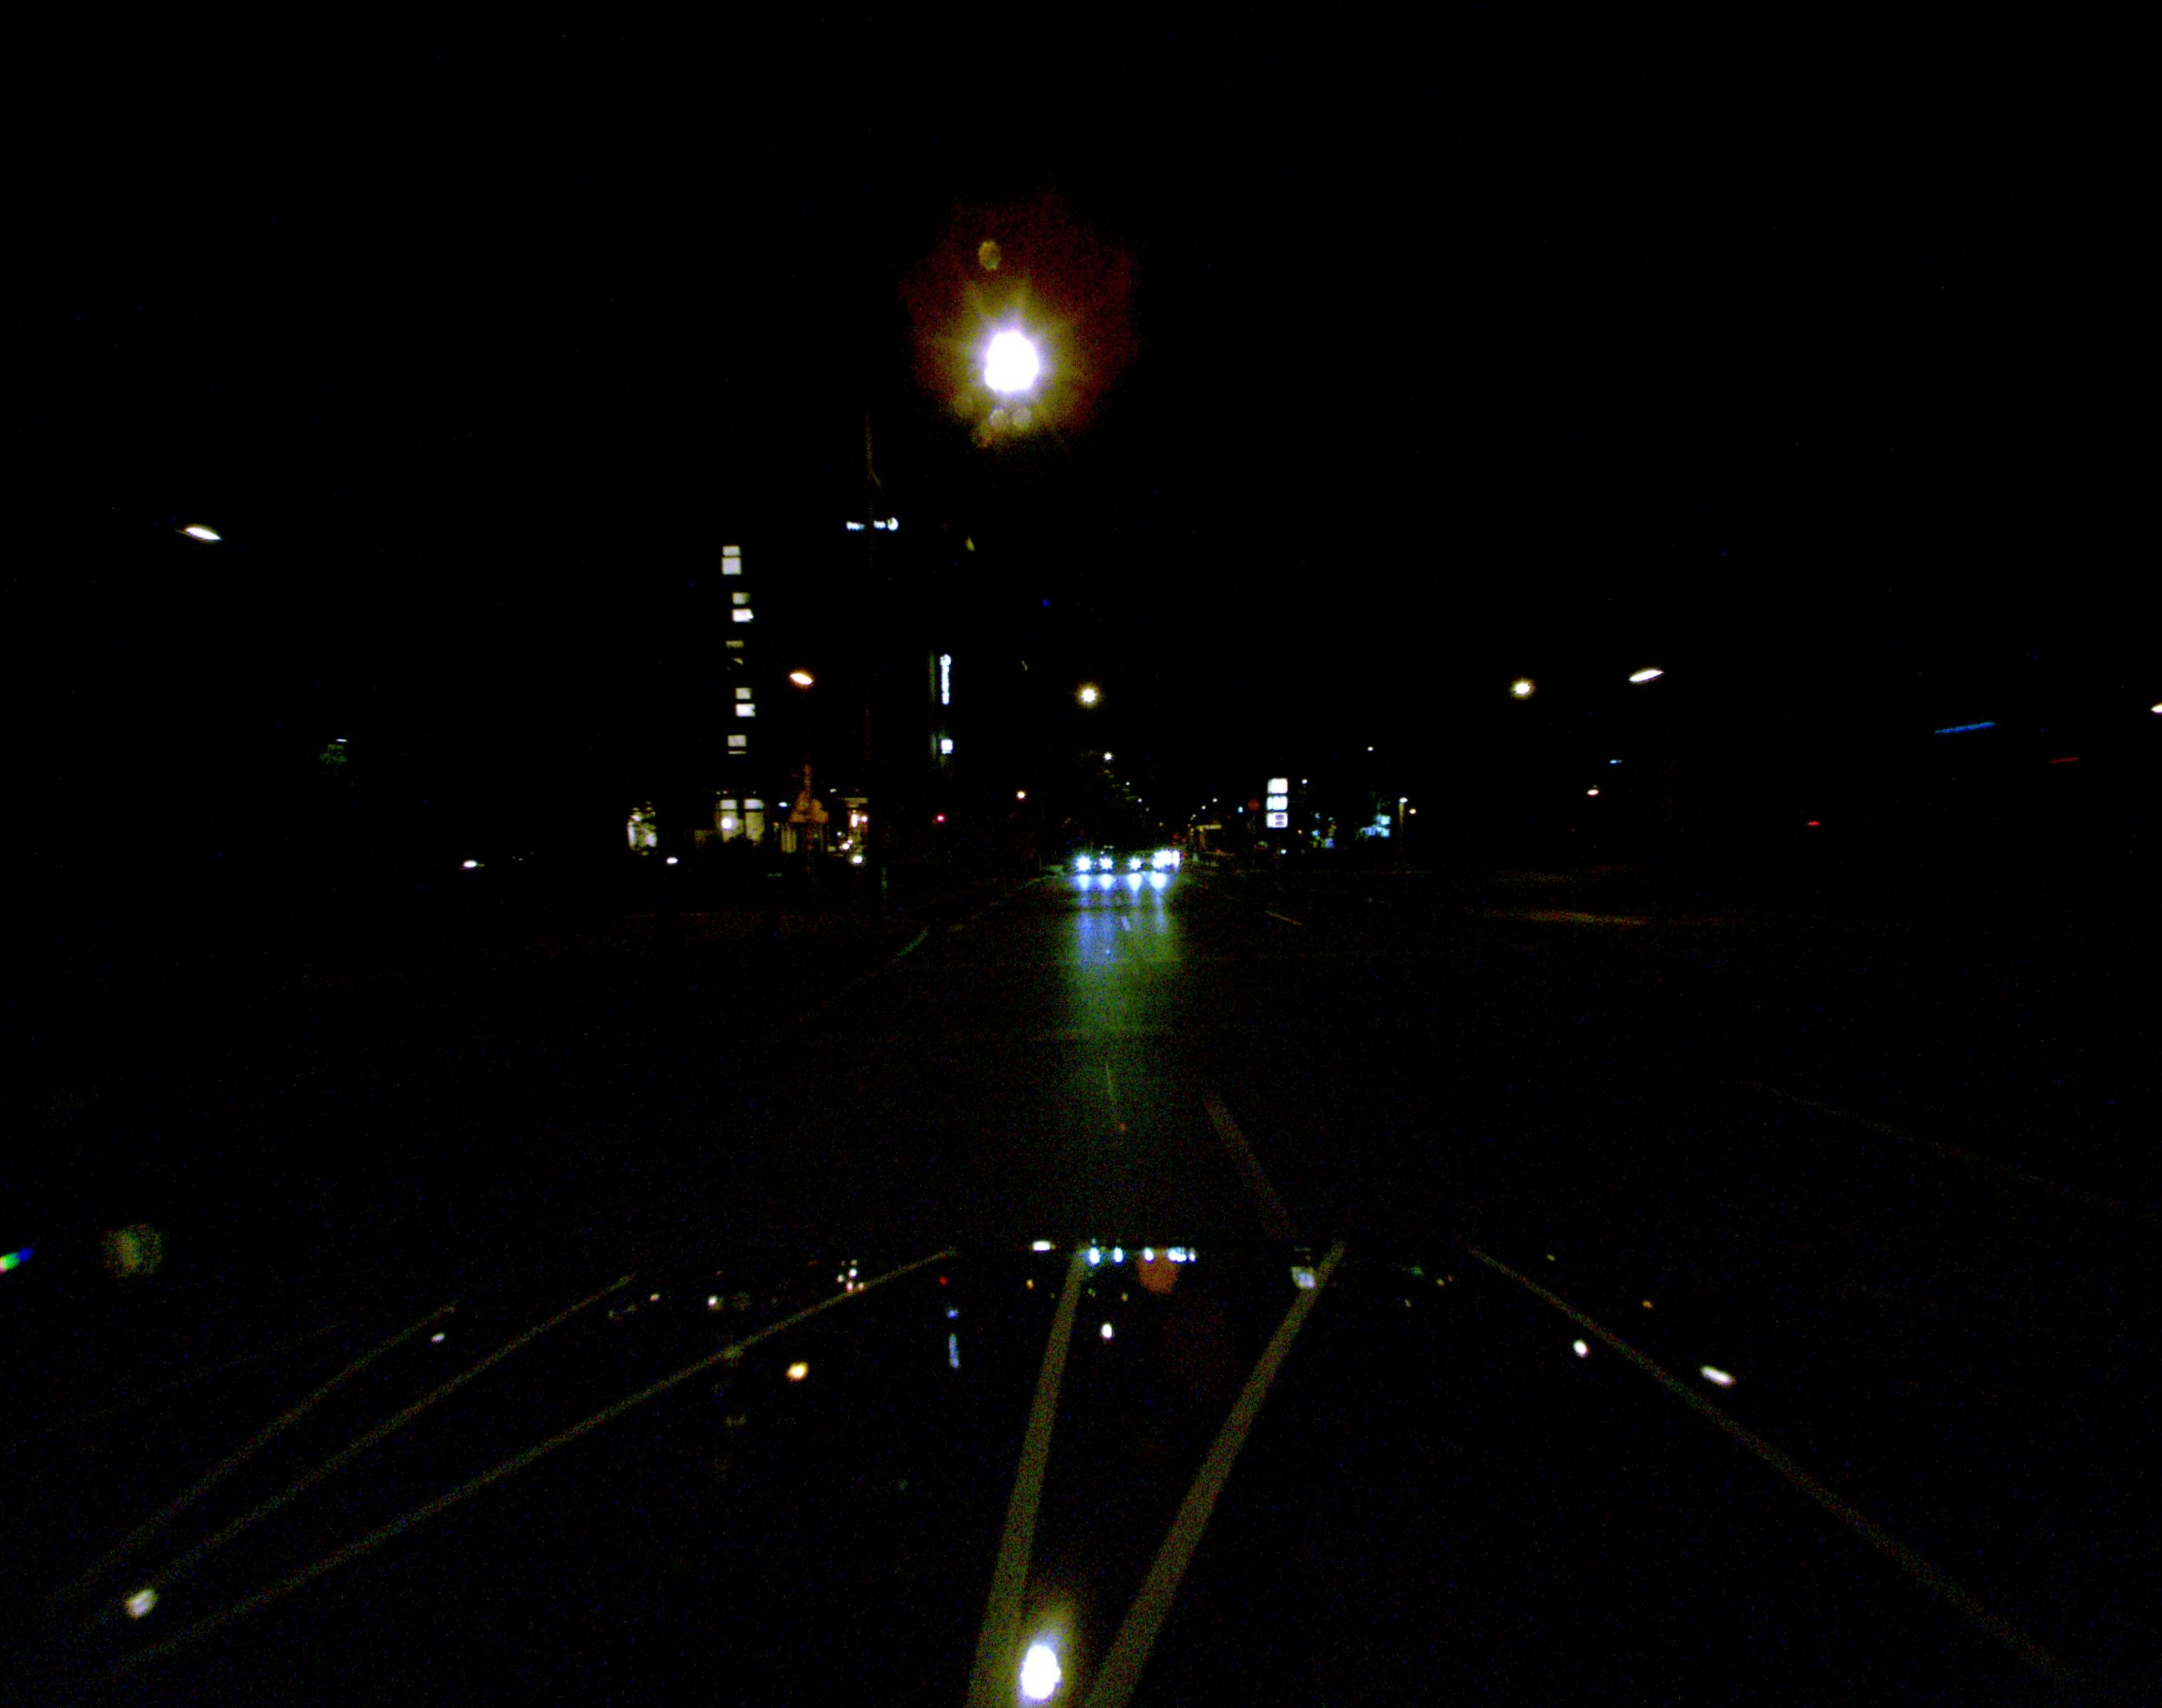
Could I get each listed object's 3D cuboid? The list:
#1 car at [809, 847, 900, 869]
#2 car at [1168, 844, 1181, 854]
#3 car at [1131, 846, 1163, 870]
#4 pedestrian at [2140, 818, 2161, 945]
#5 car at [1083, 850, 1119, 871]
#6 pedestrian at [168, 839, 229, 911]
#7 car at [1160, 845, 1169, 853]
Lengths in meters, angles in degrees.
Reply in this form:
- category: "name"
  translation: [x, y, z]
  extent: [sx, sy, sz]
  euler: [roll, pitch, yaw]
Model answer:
- category: "car"
  translation: [-11.021, 0.199, 37.084]
  extent: [4.008, 1.028, 1.480]
  euler: [0, -1, -39]
- category: "car"
  translation: [15.467, -0.811, 126.094]
  extent: [1.907, 1.609, 3.719]
  euler: [-2, 1, 3]
- category: "car"
  translation: [4.331, 0.250, 49.190]
  extent: [1.858, 1.482, 3.561]
  euler: [-2, 0, 8]
- category: "pedestrian"
  translation: [14.669, 0.363, 9.735]
  extent: [1.053, 1.678, 0.822]
  euler: [1, 1, 37]
- category: "car"
  translation: [1.376, 0.410, 50.768]
  extent: [1.947, 1.299, 3.907]
  euler: [1, 1, 8]
- category: "pedestrian"
  translation: [-23.389, 0.548, 20.154]
  extent: [0.664, 1.866, 0.731]
  euler: [-2, 1, -1]
- category: "car"
  translation: [18.146, -1.140, 165.523]
  extent: [1.827, 1.696, 4.001]
  euler: [-2, 1, 5]
